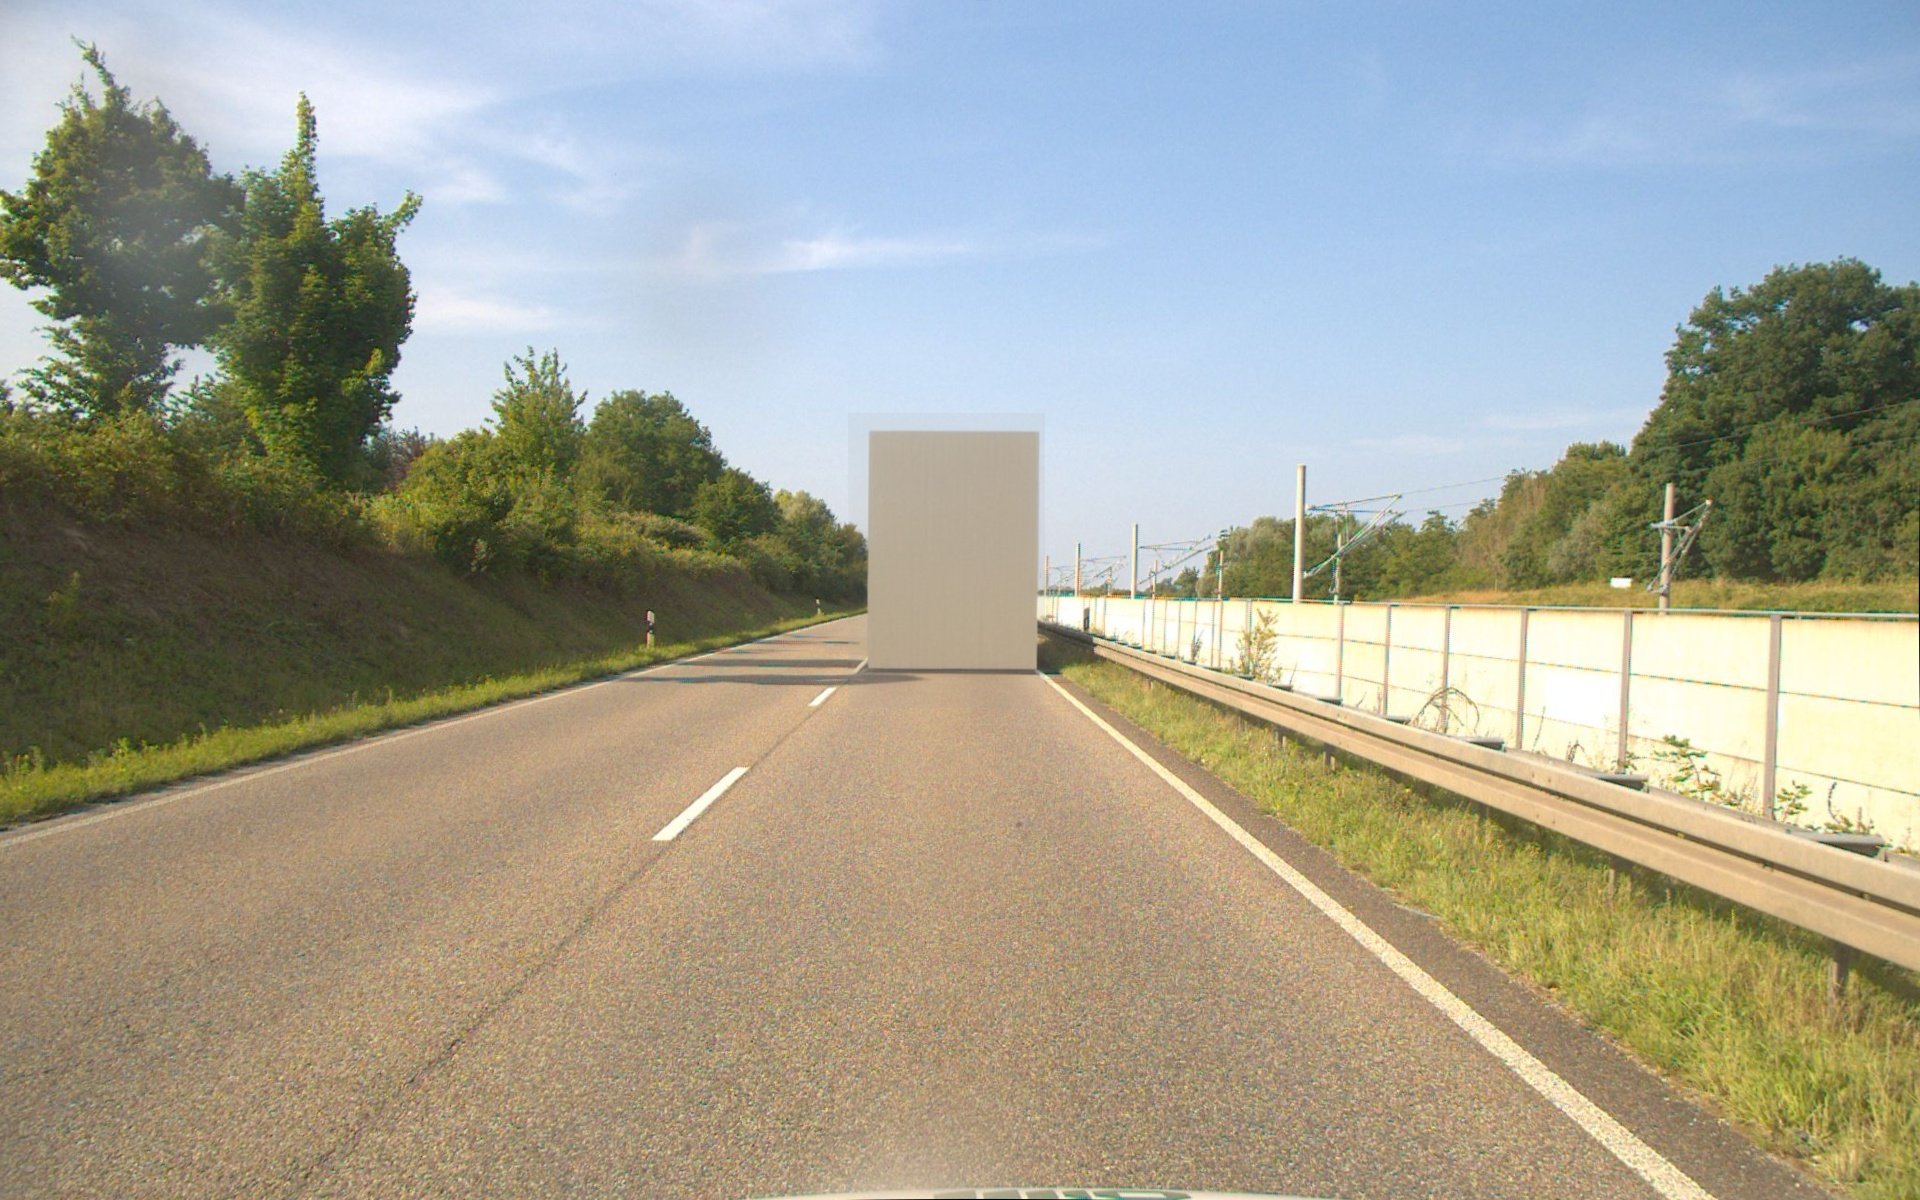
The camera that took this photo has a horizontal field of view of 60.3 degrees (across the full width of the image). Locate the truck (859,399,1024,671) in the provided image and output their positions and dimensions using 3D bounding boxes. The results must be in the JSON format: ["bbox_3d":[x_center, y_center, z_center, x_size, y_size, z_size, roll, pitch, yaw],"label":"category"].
[{"bbox_3d":[-0.528,-1.212,36.615,2.972,5.006,11.679,1,0,-2],"label":"truck"}]
